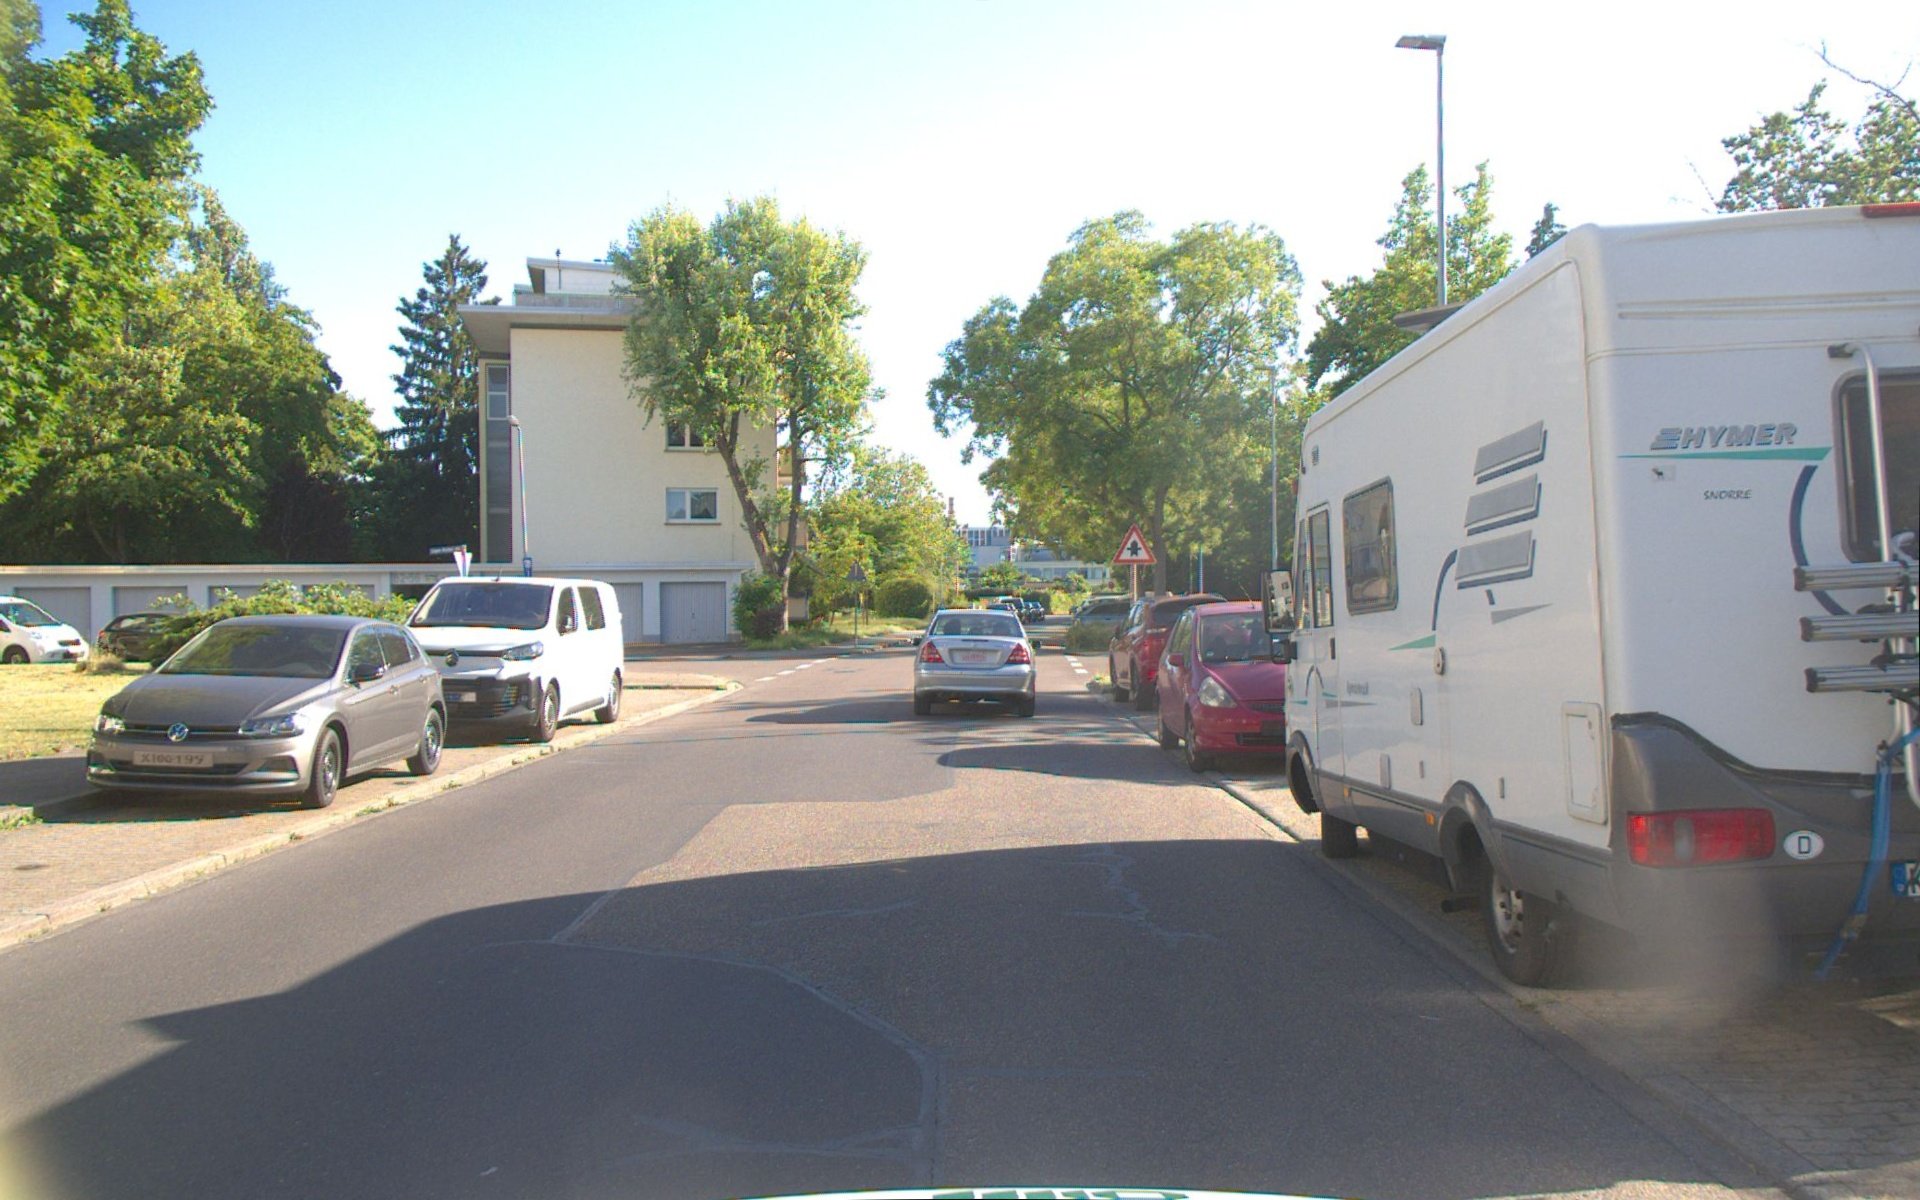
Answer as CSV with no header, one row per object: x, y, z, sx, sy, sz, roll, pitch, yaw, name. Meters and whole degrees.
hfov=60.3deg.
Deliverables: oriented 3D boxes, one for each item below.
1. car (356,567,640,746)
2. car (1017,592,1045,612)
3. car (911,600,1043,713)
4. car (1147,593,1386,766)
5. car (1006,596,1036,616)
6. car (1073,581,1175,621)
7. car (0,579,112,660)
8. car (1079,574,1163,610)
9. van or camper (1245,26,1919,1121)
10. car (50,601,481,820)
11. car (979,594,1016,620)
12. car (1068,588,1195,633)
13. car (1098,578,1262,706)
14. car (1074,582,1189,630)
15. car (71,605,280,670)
-5.494,0.612,20.471,1.973,1.918,5.191,1,0,1,car
5.661,0.159,130.803,1.713,1.547,4.197,-2,0,9,car
0.242,0.746,23.230,1.697,1.459,3.438,0,0,1,car
2.950,0.696,16.694,1.656,1.500,4.000,-1,0,0,car
4.586,0.422,124.196,1.713,1.353,3.453,-4,0,10,car
7.958,0.029,80.323,4.781,1.753,2.001,-2,0,5,car
-24.900,0.530,42.629,4.997,1.985,2.239,-2,0,7,car
10.055,-0.499,102.854,5.106,2.095,2.002,-1,0,7,car
3.251,-0.127,7.845,2.446,2.895,6.850,-2,0,-1,van or camper
-5.594,0.793,13.974,1.795,1.544,4.222,1,0,1,car
2.403,0.426,105.775,1.872,1.516,3.840,-4,0,8,car
6.472,0.391,62.837,4.682,1.576,2.012,-1,0,2,car
3.331,0.586,25.905,1.739,1.709,4.643,-4,0,-2,car
7.535,0.252,72.883,4.786,1.957,1.999,-2,0,-2,car
-19.880,0.934,42.009,4.348,1.486,2.045,-1,0,7,car
